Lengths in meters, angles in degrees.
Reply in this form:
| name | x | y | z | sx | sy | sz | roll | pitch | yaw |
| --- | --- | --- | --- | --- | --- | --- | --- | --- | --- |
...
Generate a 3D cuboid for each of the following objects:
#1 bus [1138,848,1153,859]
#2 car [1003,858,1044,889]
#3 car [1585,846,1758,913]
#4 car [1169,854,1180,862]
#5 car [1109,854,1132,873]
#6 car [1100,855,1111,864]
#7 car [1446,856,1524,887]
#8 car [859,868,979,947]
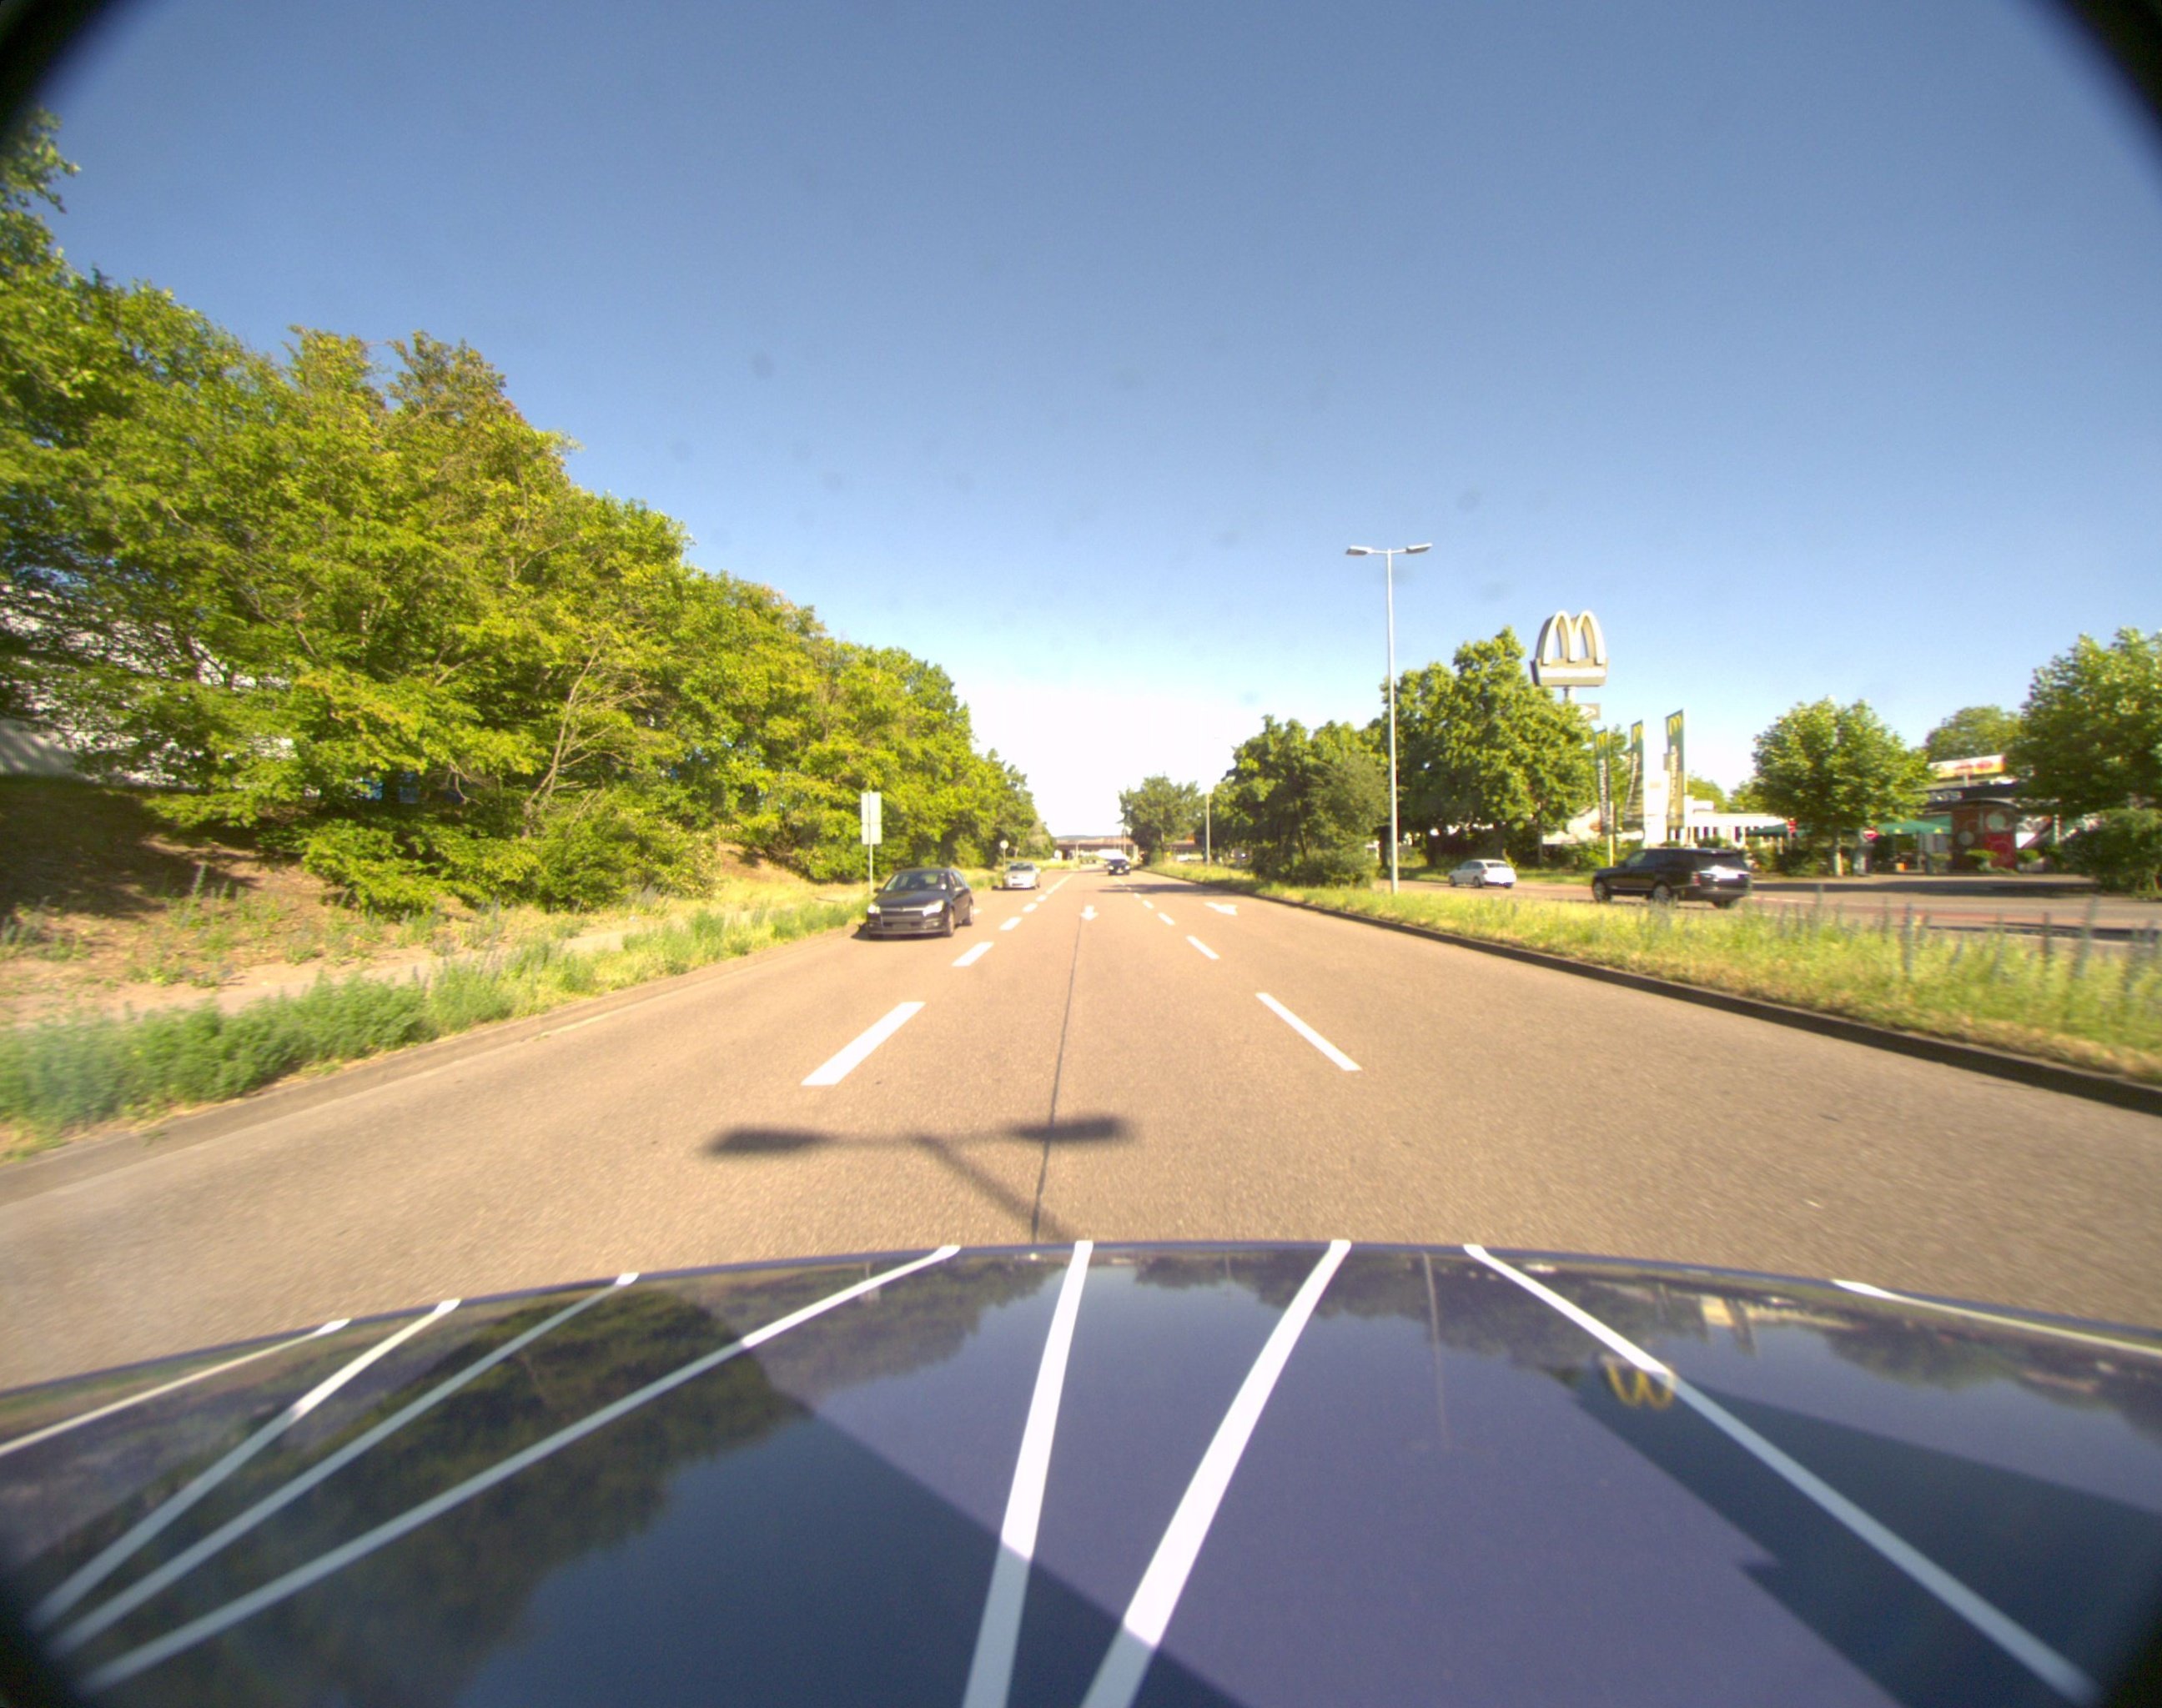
| name | x | y | z | sx | sy | sz | roll | pitch | yaw |
| --- | --- | --- | --- | --- | --- | --- | --- | --- | --- |
| bus | 15.812 | -0.080 | 186.360 | 2.728 | 2.705 | 11.088 | 2 | 0 | 0 |
| car | -3.012 | 1.008 | 40.734 | 1.827 | 1.528 | 4.042 | -1 | 0 | 1 |
| car | 18.101 | 0.708 | 23.622 | 1.744 | 1.791 | 4.671 | 2 | 0 | 1 |
| car | 18.747 | 0.793 | 152.902 | 1.760 | 1.511 | 4.530 | 1 | 0 | 1 |
| car | 3.438 | 0.794 | 66.282 | 1.827 | 1.528 | 4.042 | -1 | 0 | 1 |
| car | 4.335 | 0.901 | 133.677 | 1.827 | 1.528 | 4.042 | -1 | 0 | 1 |
| car | 20.535 | 0.871 | 38.831 | 1.744 | 1.447 | 4.209 | 1 | 0 | 1 |
| car | -3.430 | 1.087 | 16.830 | 1.707 | 1.446 | 3.959 | -1 | 0 | 1 |
